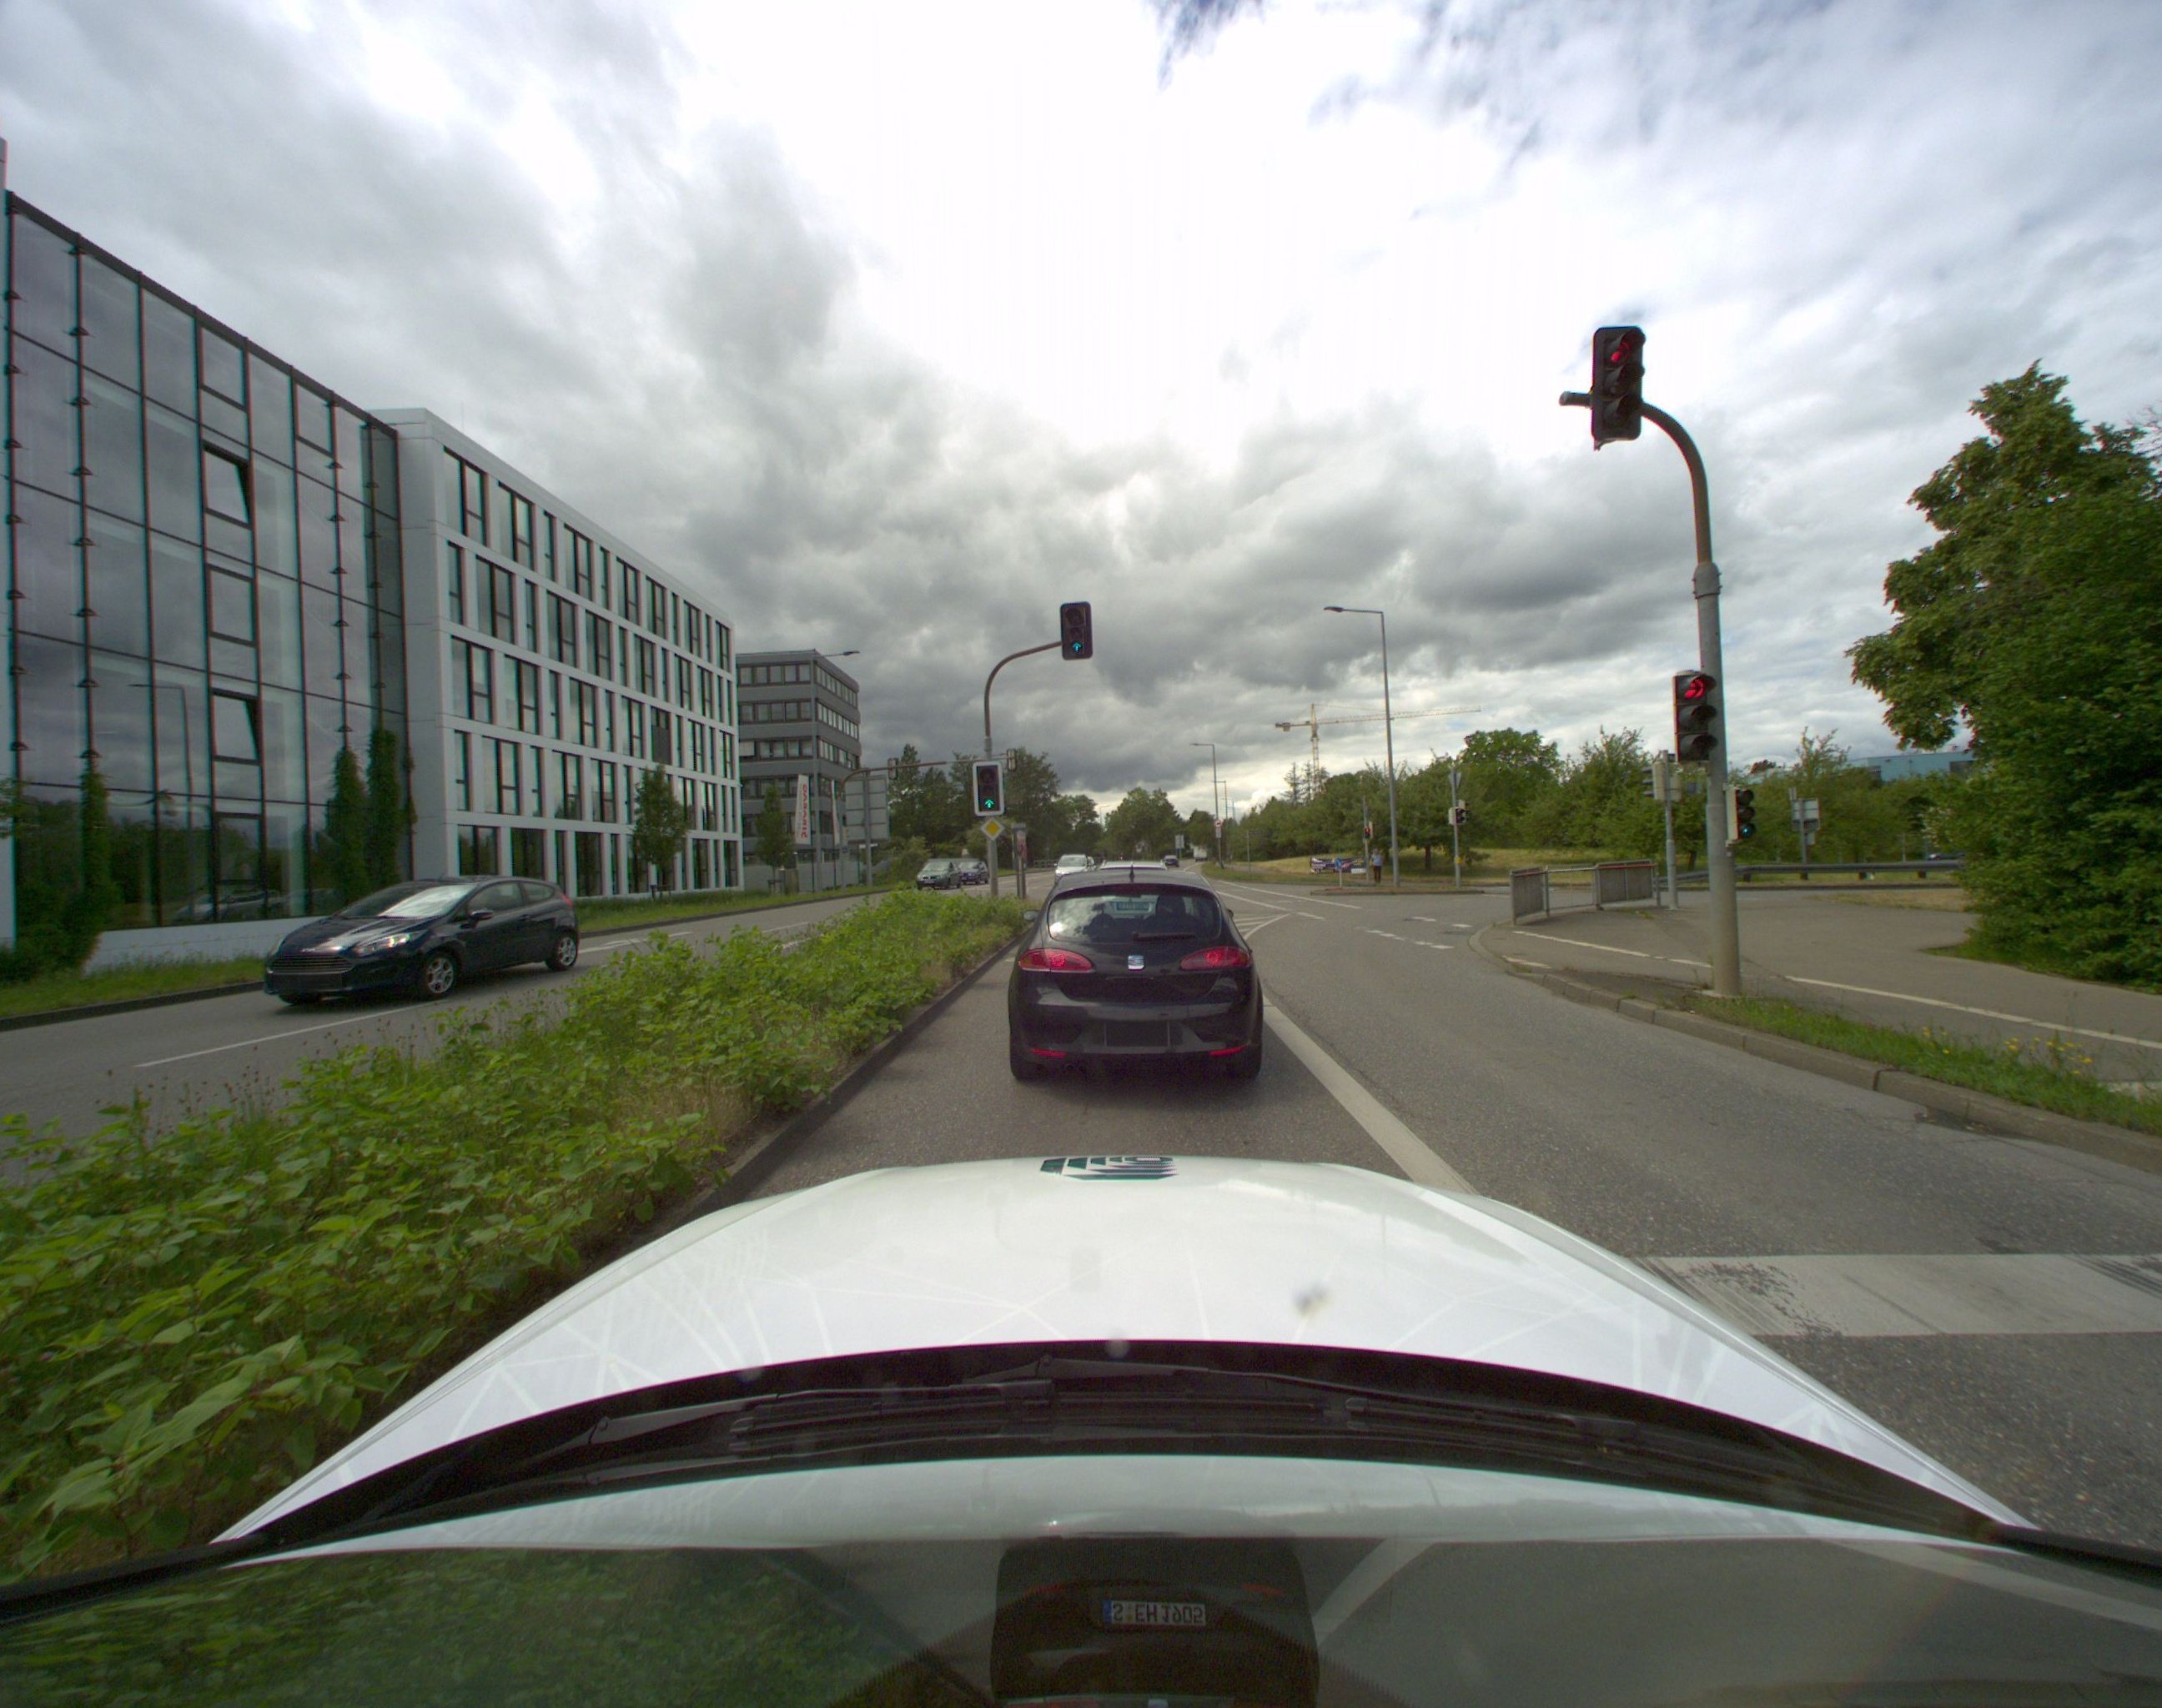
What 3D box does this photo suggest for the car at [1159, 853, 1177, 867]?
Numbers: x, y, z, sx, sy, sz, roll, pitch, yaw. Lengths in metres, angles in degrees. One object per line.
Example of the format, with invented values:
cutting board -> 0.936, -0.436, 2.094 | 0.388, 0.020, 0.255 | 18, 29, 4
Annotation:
car -> 10.277, 0.660, 96.140 | 1.984, 1.565, 4.478 | -2, 0, 5

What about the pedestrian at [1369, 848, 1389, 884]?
pedestrian -> 15.076, 0.610, 41.204 | 0.714, 1.793, 1.045 | -1, -1, 5

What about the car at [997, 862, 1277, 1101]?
car -> 0.402, 0.802, 6.731 | 1.704, 1.417, 3.461 | -1, 0, 2

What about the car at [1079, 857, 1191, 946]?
car -> 0.988, 0.805, 15.302 | 1.827, 1.467, 3.754 | 0, -1, 3

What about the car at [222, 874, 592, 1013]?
car -> -8.526, 1.025, 10.848 | 1.749, 1.446, 3.889 | 0, -1, -2

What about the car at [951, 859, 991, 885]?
car -> -6.643, 1.060, 49.387 | 1.546, 1.419, 3.901 | -1, 0, 5

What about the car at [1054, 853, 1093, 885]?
car -> -0.380, 0.779, 45.171 | 1.812, 1.686, 4.649 | -1, 0, 4

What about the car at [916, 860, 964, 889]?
car -> -7.319, 1.039, 42.644 | 1.598, 1.432, 3.757 | -1, 0, 4

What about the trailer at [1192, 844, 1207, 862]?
trailer -> 21.094, -0.219, 144.376 | 2.476, 3.073, 5.601 | -1, -1, 9

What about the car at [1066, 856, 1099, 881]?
car -> 0.144, 0.879, 51.241 | 1.652, 1.518, 4.091 | -1, 0, 6
